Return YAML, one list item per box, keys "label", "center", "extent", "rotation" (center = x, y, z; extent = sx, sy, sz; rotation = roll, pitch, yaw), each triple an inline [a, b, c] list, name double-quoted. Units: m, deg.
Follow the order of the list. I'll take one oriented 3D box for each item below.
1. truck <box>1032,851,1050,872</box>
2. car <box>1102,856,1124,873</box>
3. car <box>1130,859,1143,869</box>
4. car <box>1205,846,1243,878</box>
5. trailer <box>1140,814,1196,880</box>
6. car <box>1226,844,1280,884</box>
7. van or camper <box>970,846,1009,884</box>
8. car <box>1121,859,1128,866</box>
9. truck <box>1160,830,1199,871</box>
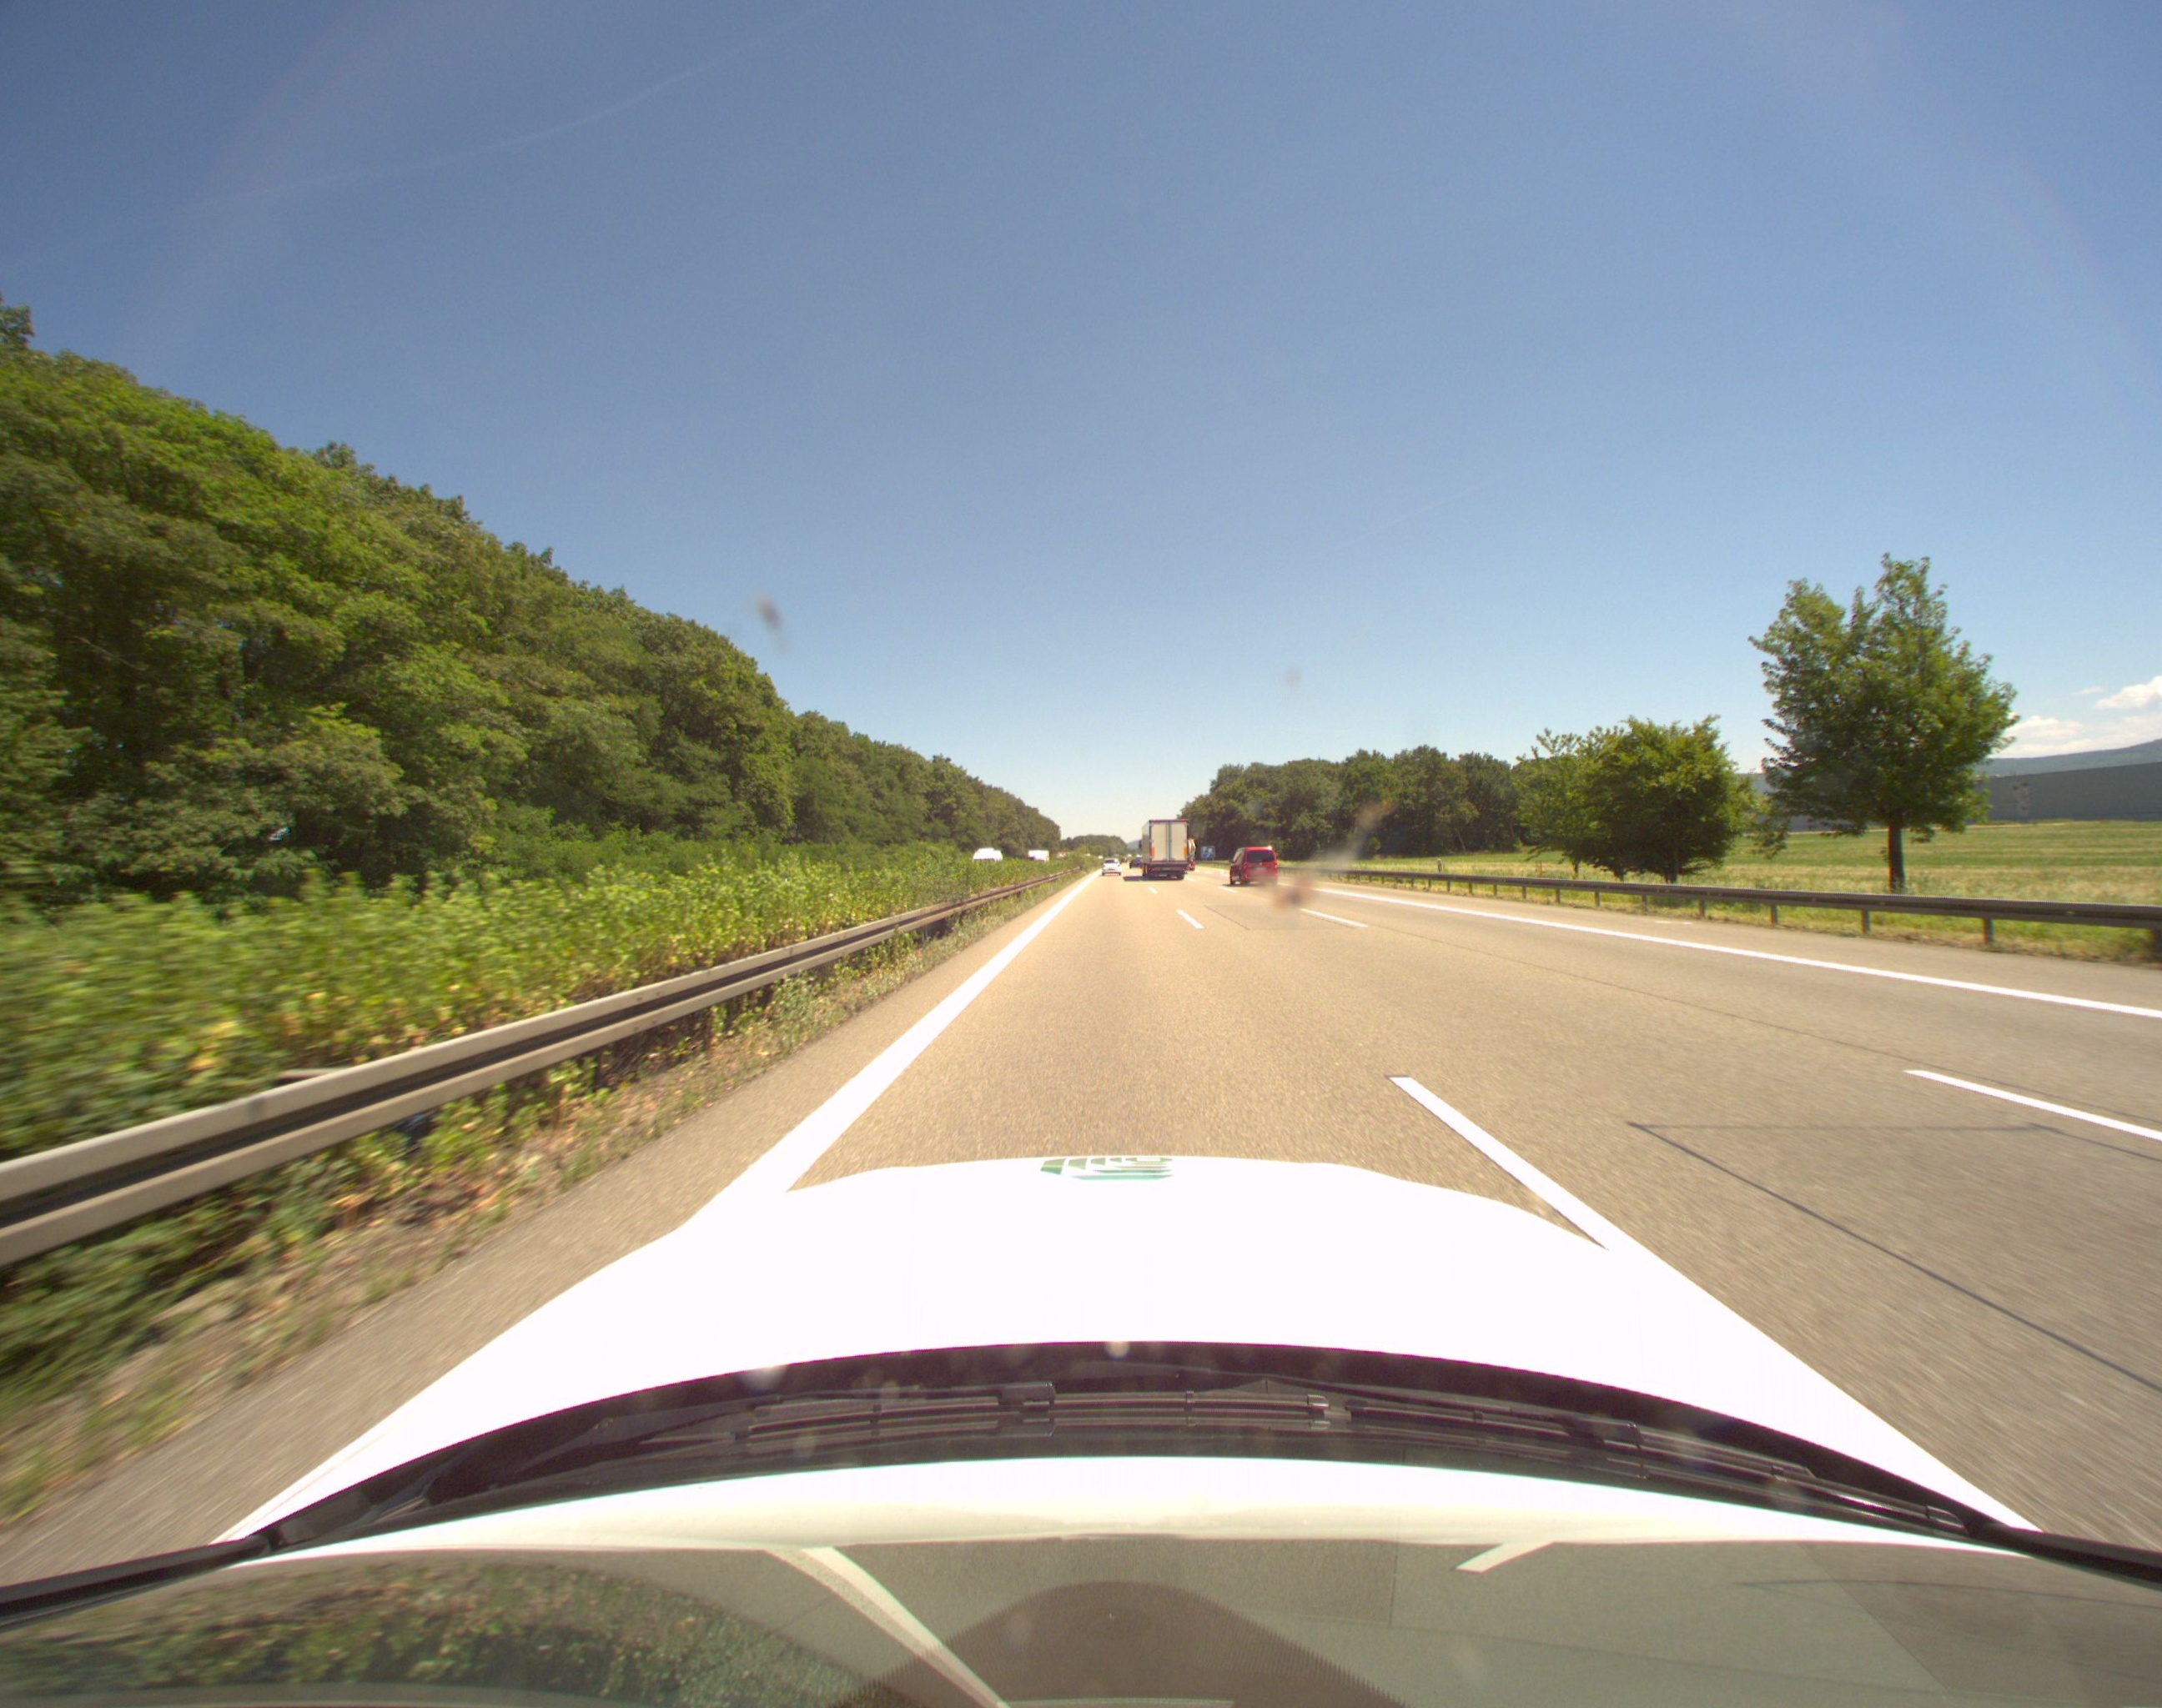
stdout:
- label: "truck"
  center: [-6.820, 1.259, 141.113]
  extent: [2.401, 3.353, 7.002]
  rotation: [-4, 0, 1]
- label: "car"
  center: [2.809, 0.917, 72.979]
  extent: [1.806, 1.405, 3.316]
  rotation: [-2, 0, 0]
- label: "car"
  center: [7.763, 1.388, 114.467]
  extent: [1.661, 1.289, 4.003]
  rotation: [-2, 0, 3]
- label: "car"
  center: [9.614, 0.544, 54.929]
  extent: [1.986, 2.013, 4.002]
  rotation: [-2, 0, 2]
- label: "trailer"
  center: [6.056, -0.436, 58.810]
  extent: [3.210, 4.143, 12.360]
  rotation: [-2, 0, 3]
- label: "car"
  center: [9.089, 0.521, 43.416]
  extent: [1.849, 2.003, 5.523]
  rotation: [-1, 0, 1]
- label: "van or camper"
  center: [-7.176, 0.832, 64.632]
  extent: [1.986, 2.846, 7.002]
  rotation: [-2, 0, 1]
- label: "car"
  center: [12.336, 2.327, 231.074]
  extent: [2.099, 2.014, 4.001]
  rotation: [-1, 0, 2]
- label: "truck"
  center: [11.340, -0.364, 94.535]
  extent: [3.213, 4.345, 10.806]
  rotation: [-2, 0, 0]
